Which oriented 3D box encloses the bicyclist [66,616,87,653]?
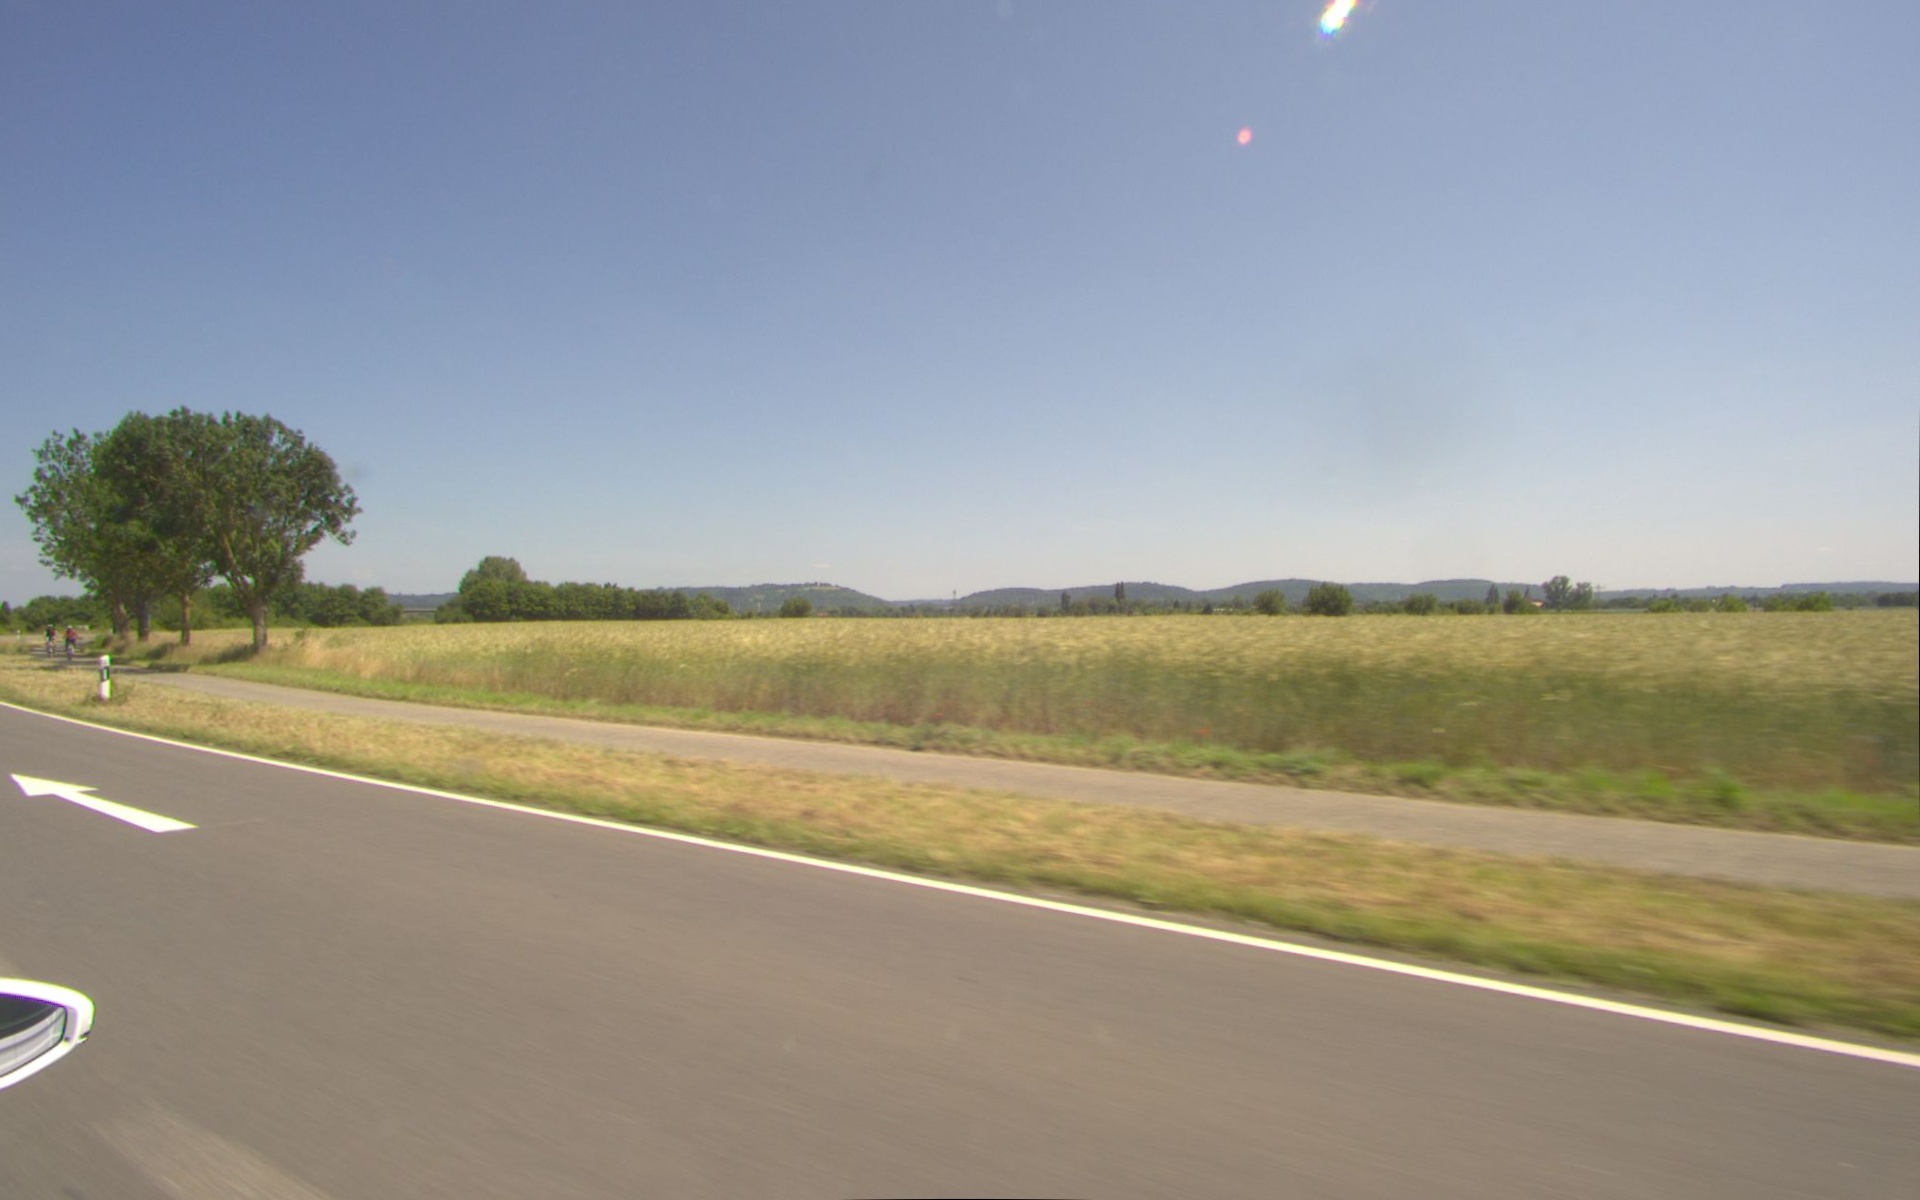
[{"bbox_3d":[-45.134,1.766,51.149,0.624,1.804,0.968,6,-4,-43],"label":"bicyclist"}]

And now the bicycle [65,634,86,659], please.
[{"bbox_3d":[-45.144,2.348,51.103,0.694,1.225,2.032,4,-4,-43],"label":"bicycle"}]

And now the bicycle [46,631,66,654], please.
[{"bbox_3d":[-48.622,2.295,53.859,0.601,1.191,2.035,5,-4,-39],"label":"bicycle"}]

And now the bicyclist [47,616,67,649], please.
[{"bbox_3d":[-48.613,1.738,53.909,0.583,1.755,1.162,6,-4,-39],"label":"bicyclist"}]
